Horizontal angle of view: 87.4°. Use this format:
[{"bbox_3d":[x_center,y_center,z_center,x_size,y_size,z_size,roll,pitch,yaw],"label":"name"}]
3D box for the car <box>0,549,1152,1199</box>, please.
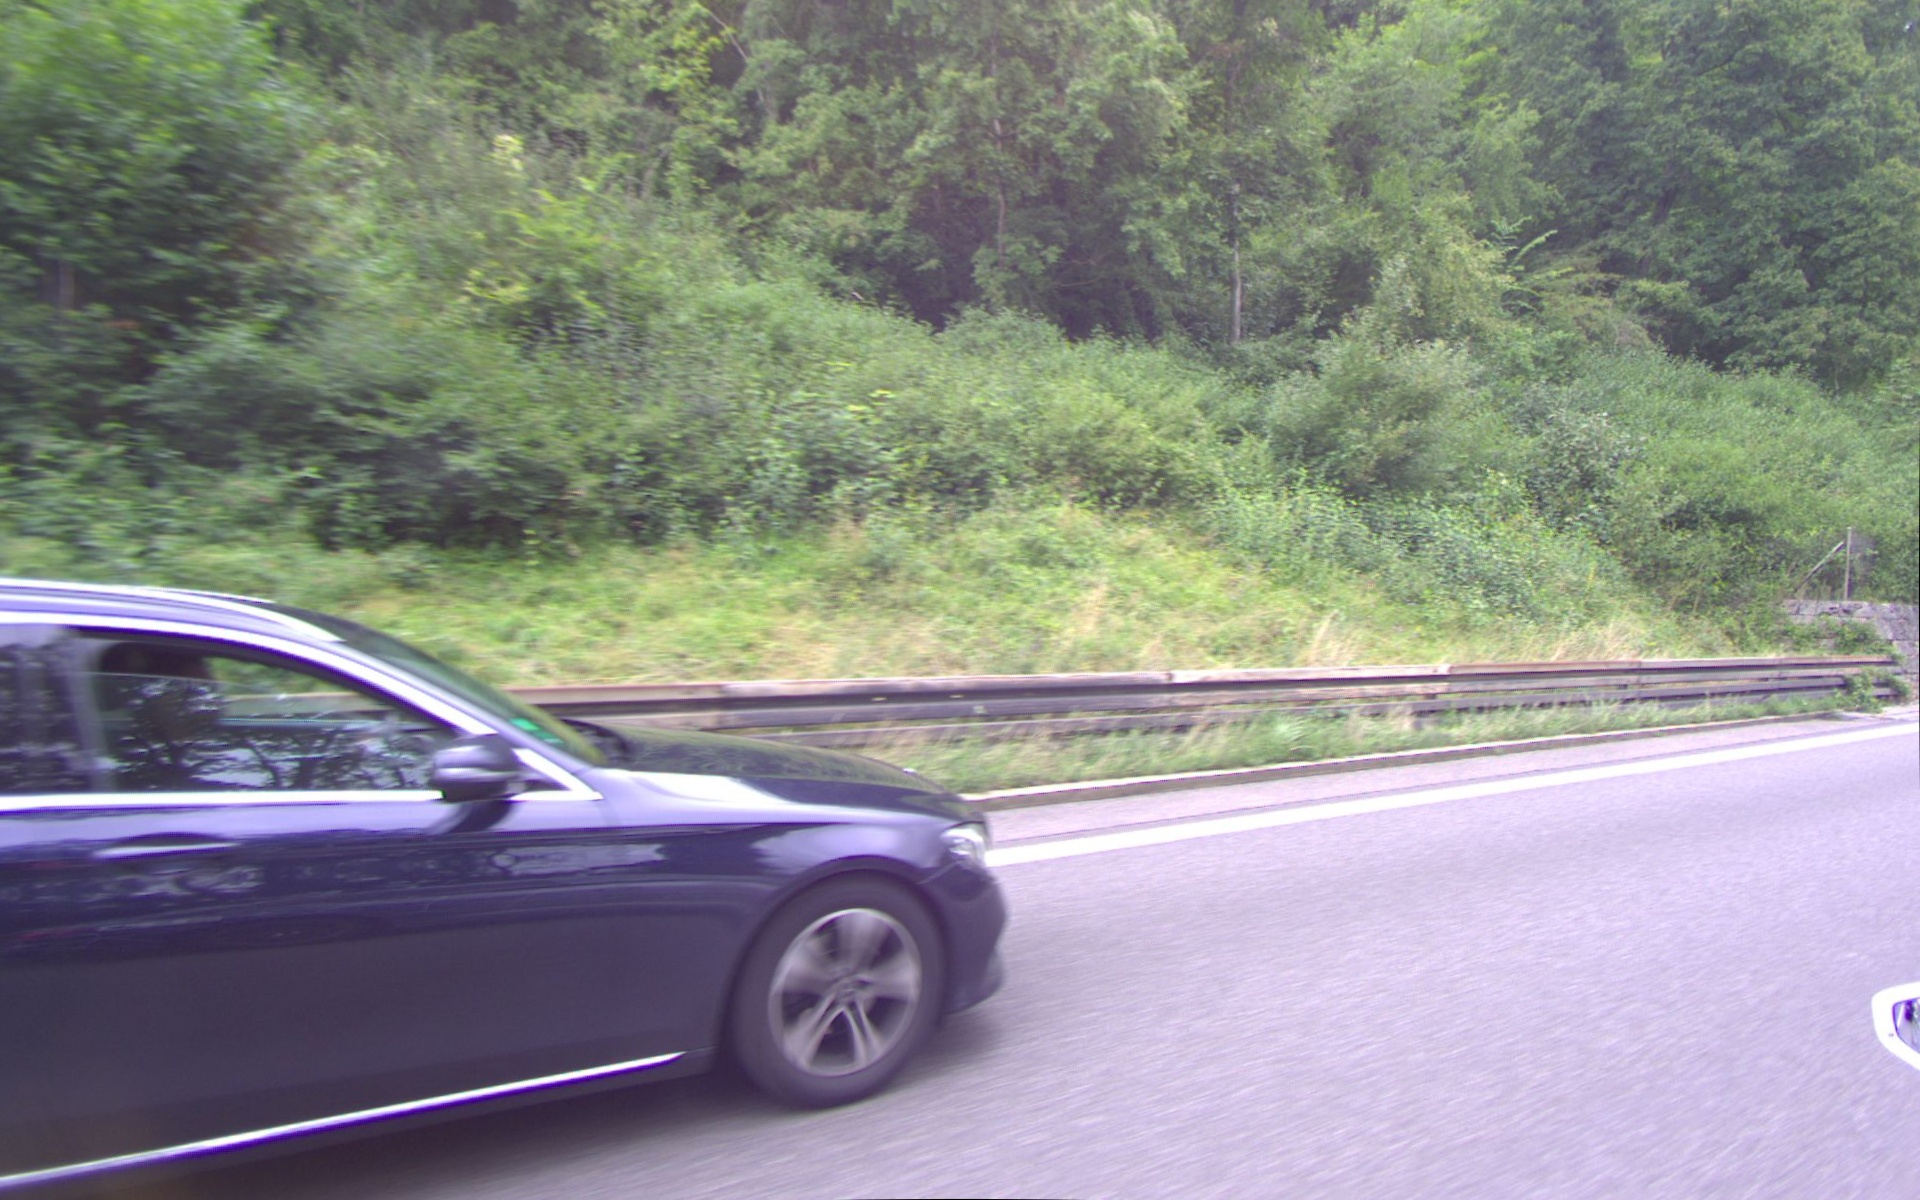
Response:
[{"bbox_3d":[-1.963,0.643,2.892,5.063,1.483,1.752,1,0,-31],"label":"car"}]
